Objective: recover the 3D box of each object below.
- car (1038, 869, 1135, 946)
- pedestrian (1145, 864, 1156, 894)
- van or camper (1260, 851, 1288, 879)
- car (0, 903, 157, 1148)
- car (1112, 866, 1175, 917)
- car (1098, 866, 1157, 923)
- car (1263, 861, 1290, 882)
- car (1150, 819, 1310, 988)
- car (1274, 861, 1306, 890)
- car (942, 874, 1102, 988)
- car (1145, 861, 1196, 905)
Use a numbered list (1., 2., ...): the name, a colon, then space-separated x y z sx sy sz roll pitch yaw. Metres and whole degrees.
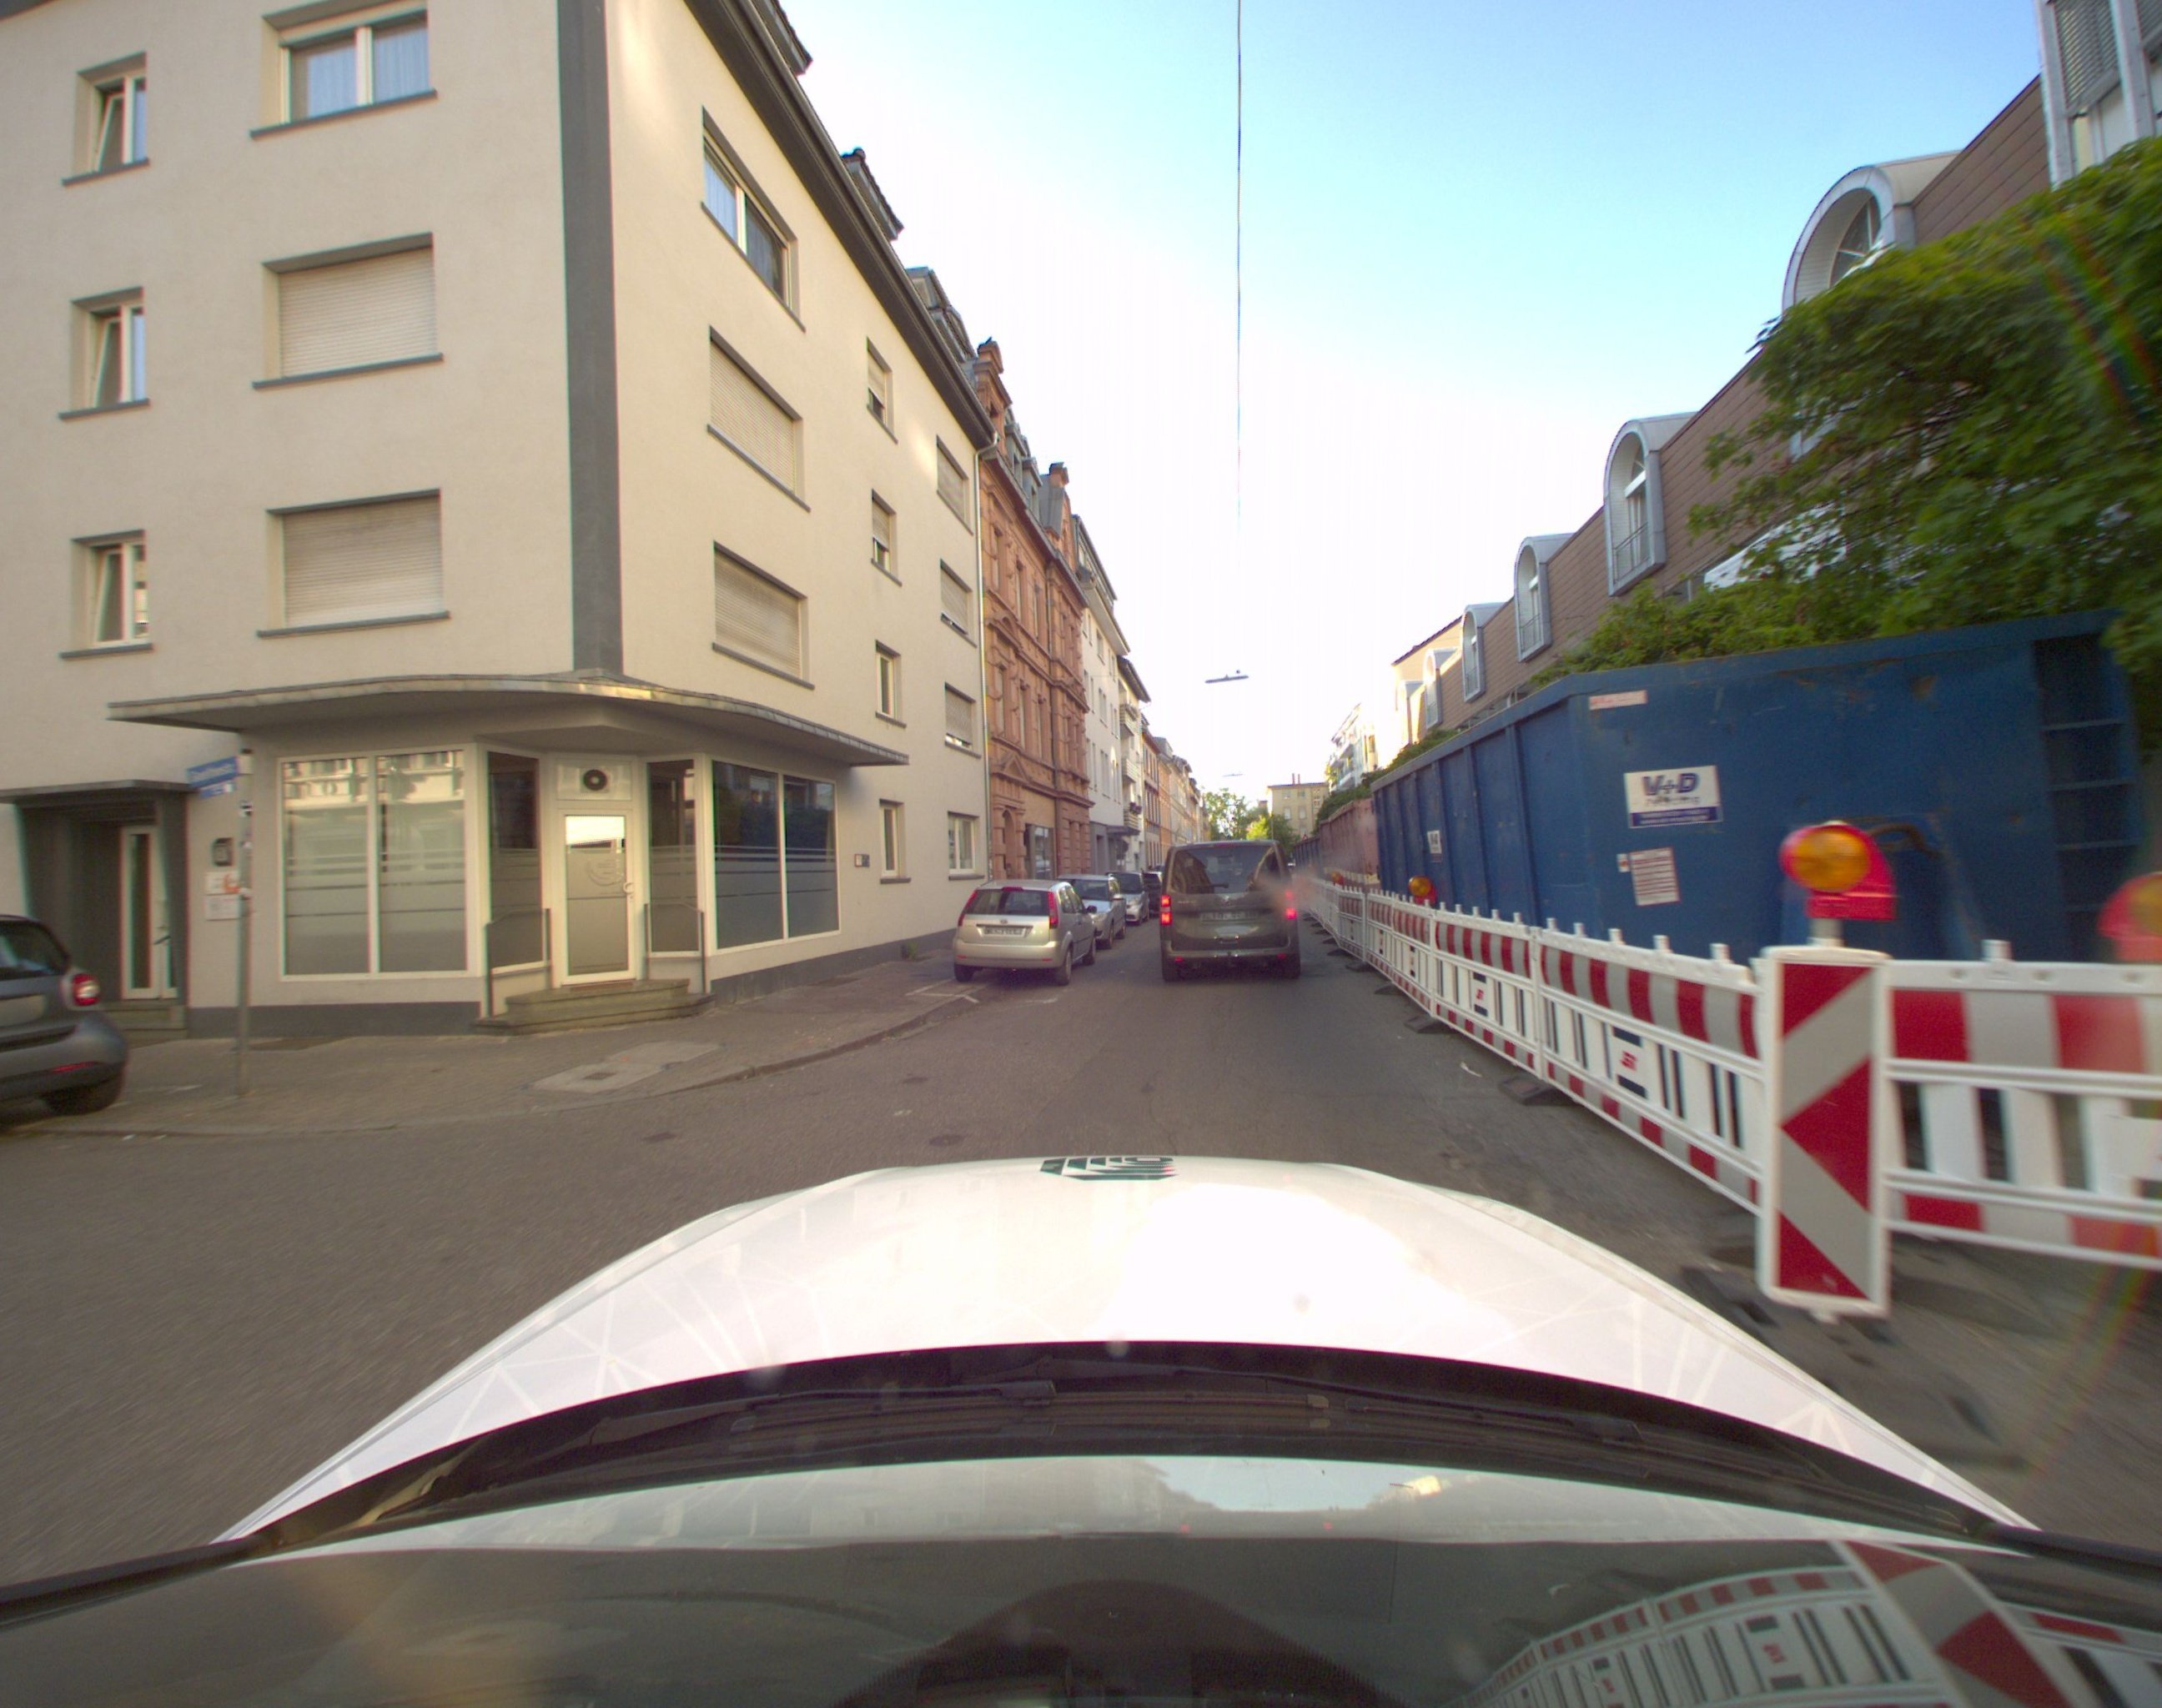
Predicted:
1. car: 0.223 1.117 18.220 1.545 1.508 3.608 0 -1 10
2. pedestrian: 3.767 1.343 44.175 0.492 1.638 0.667 -1 -1 11
3. van or camper: 19.443 1.131 82.337 2.087 2.602 7.532 -4 -1 10
4. car: -8.466 1.195 5.571 2.737 1.566 1.653 -2 -1 11
5. car: 2.274 1.274 28.620 1.729 1.599 4.026 -2 -1 10
6. car: 1.457 1.188 24.761 1.387 1.588 2.802 -3 -1 10
7. car: 15.944 1.428 66.610 1.712 1.612 4.599 -3 -1 9
8. car: 2.240 0.661 12.282 1.846 2.014 4.011 -5 -1 10
9. car: 12.707 1.269 49.629 1.737 1.683 4.541 -2 -1 13
10. car: -0.766 1.087 12.706 1.622 1.430 3.564 -2 -1 10
11. car: 4.188 1.277 37.607 1.981 1.859 4.597 -2 -1 10
